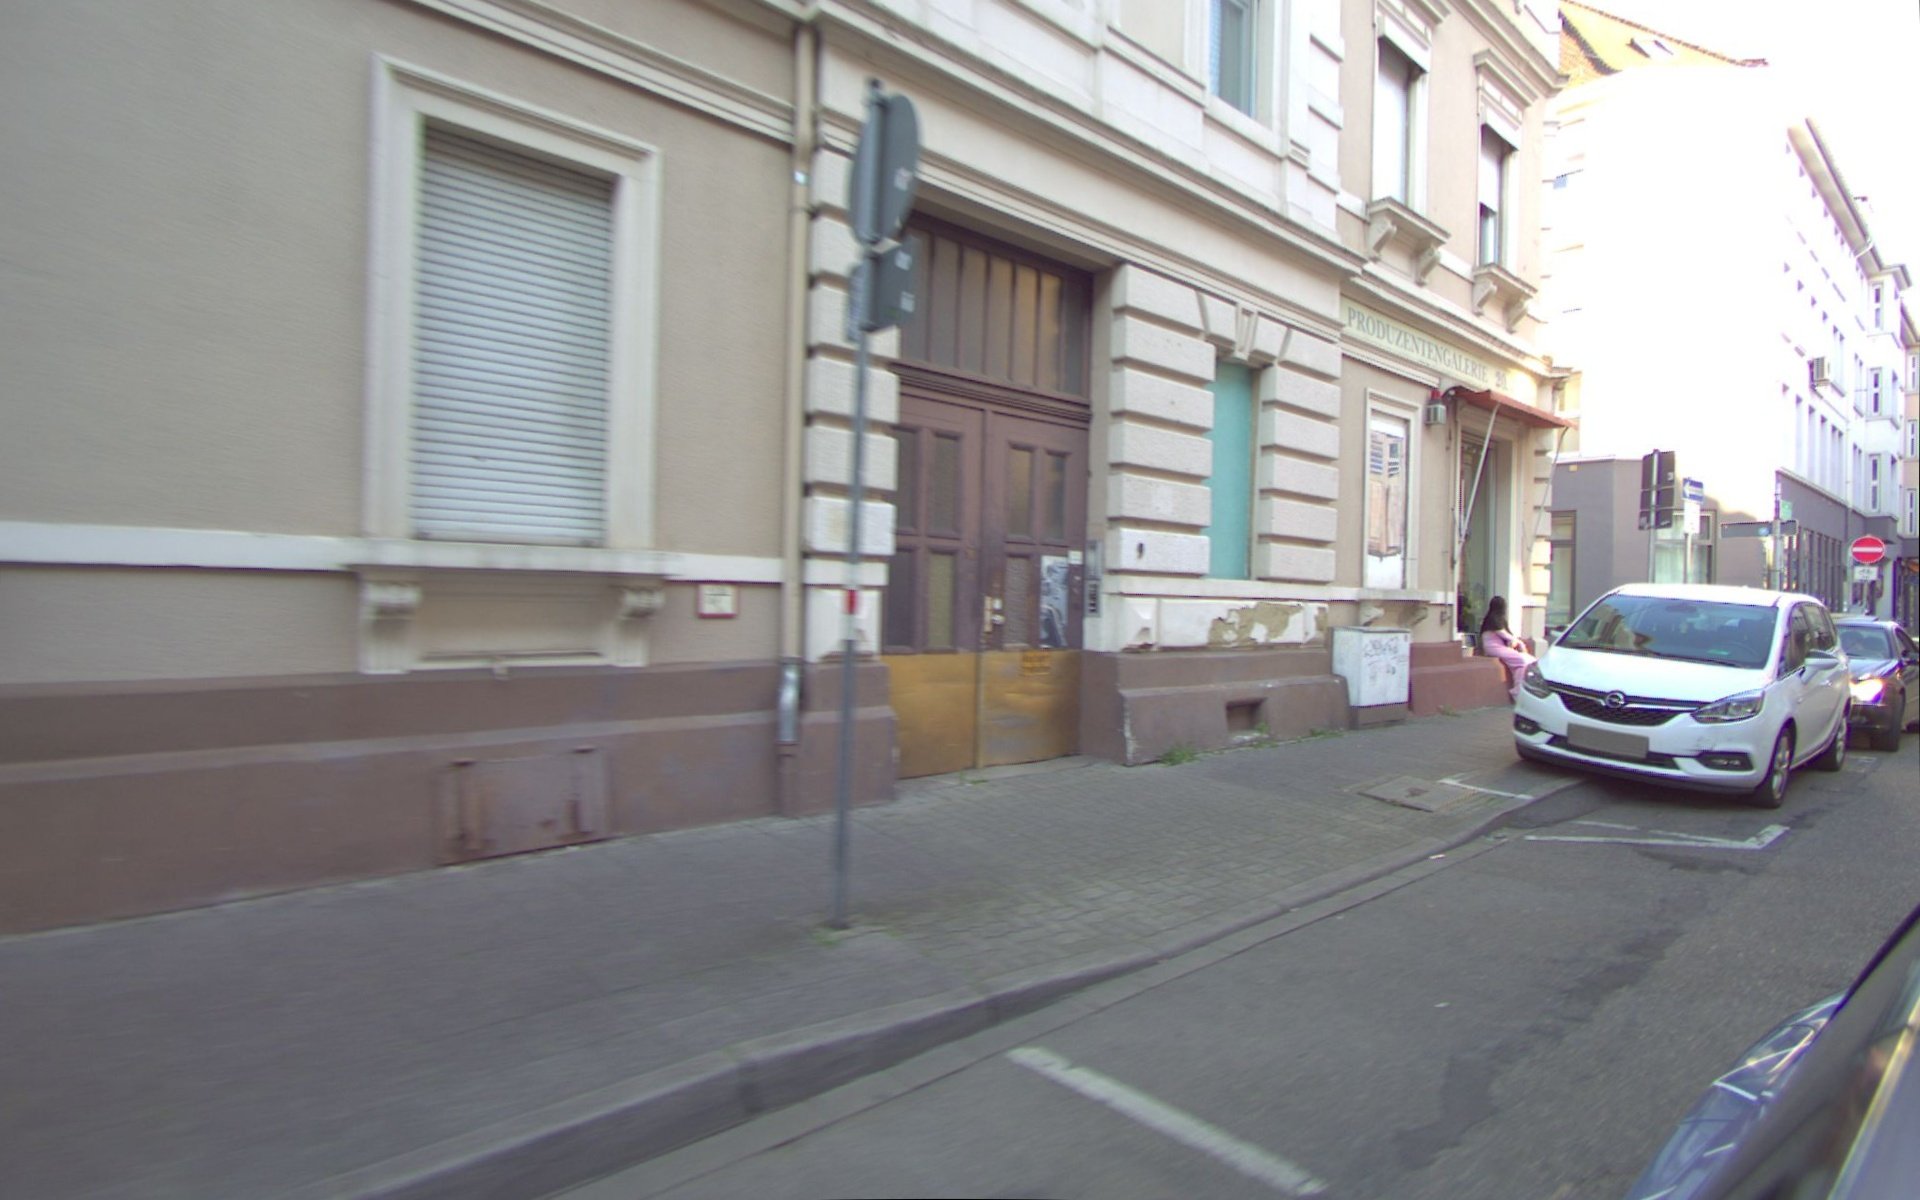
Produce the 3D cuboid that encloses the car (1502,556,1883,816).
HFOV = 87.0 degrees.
[{"bbox_3d":[6.620,0.598,8.942,4.383,1.745,1.820,1,0,-42],"label":"car"}]

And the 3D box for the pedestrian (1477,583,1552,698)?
[{"bbox_3d":[7.461,0.526,13.619,0.570,1.490,0.716,1,0,-41],"label":"pedestrian"}]

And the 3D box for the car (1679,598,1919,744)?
[{"bbox_3d":[10.614,0.749,12.293,4.643,1.426,1.888,1,0,-39],"label":"car"}]
